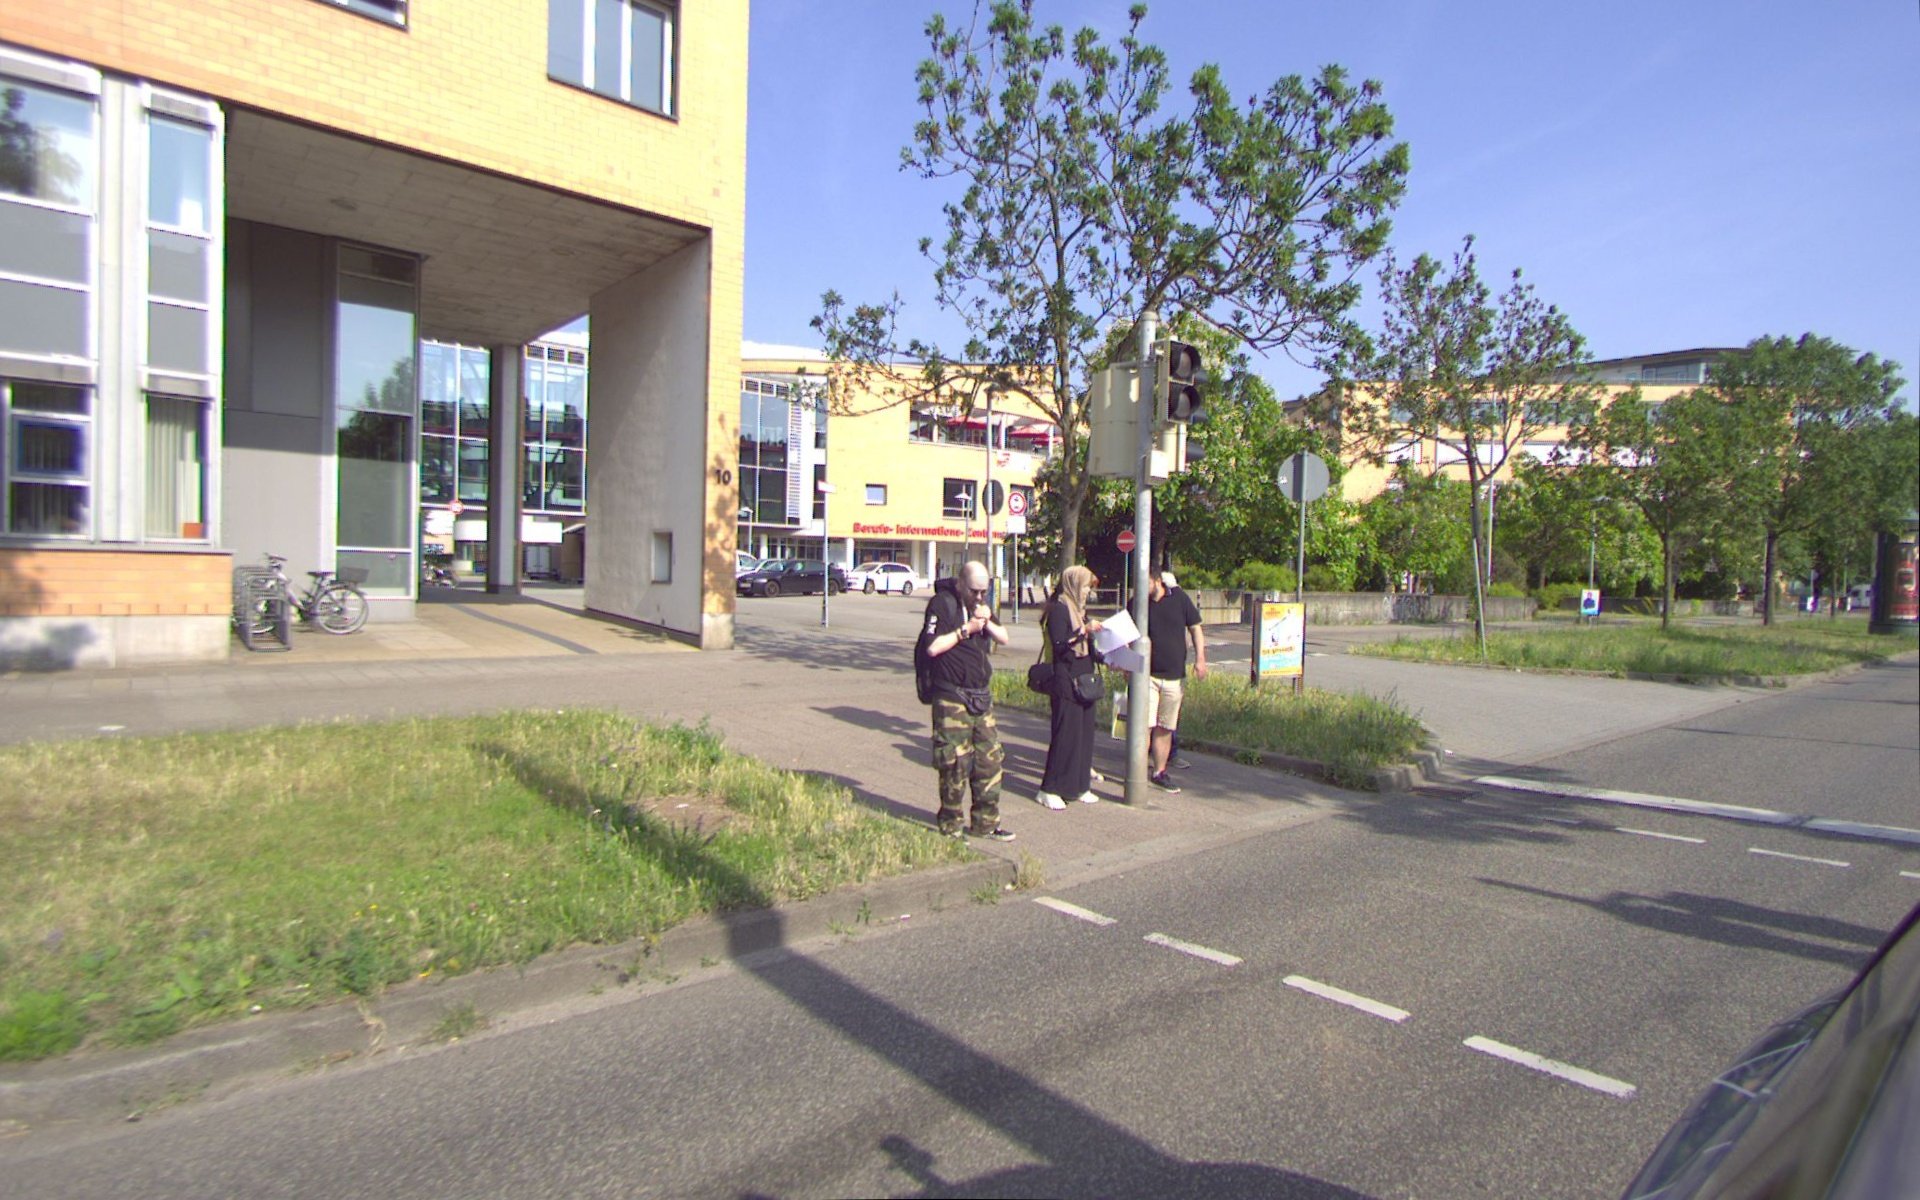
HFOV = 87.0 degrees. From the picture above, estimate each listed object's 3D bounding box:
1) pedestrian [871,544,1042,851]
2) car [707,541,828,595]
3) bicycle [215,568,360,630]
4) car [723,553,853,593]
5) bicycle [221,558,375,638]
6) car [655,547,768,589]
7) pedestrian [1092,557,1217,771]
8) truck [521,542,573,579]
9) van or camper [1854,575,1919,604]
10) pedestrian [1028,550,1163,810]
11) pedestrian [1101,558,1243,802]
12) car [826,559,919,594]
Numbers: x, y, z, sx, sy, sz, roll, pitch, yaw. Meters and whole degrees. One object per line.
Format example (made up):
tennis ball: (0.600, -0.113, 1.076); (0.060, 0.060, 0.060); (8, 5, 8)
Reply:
pedestrian: (-0.026, 0.518, 6.004); (0.677, 1.666, 0.706); (0, 3, -42)
car: (-7.729, -1.242, 40.767); (4.382, 2.039, 1.997); (-1, 0, -41)
bicycle: (-10.246, -0.034, 15.459); (1.805, 0.900, 0.528); (-1, 2, -41)
car: (-6.366, -0.984, 37.845); (4.622, 1.417, 1.597); (-1, 0, -41)
bicycle: (-9.595, -0.045, 14.701); (1.805, 1.054, 0.653); (0, 5, -41)
car: (-10.488, -1.322, 42.846); (4.342, 1.661, 1.770); (-1, 0, -41)
pedestrian: (1.615, 0.488, 8.416); (0.677, 1.666, 0.706); (0, 3, -42)
truck: (-31.073, -2.945, 76.327); (2.022, 2.518, 6.017); (-1, 0, -7)
van or camper: (89.813, -0.963, 97.185); (2.368, 2.727, 5.790); (-1, 0, -43)
pedestrian: (0.923, 0.502, 6.937); (0.599, 1.666, 0.635); (0, 3, -44)
pedestrian: (1.559, 0.539, 7.469); (0.677, 1.666, 0.706); (0, 3, -42)
car: (-3.888, -1.049, 45.734); (1.684, 1.504, 4.300); (-1, 0, 39)
